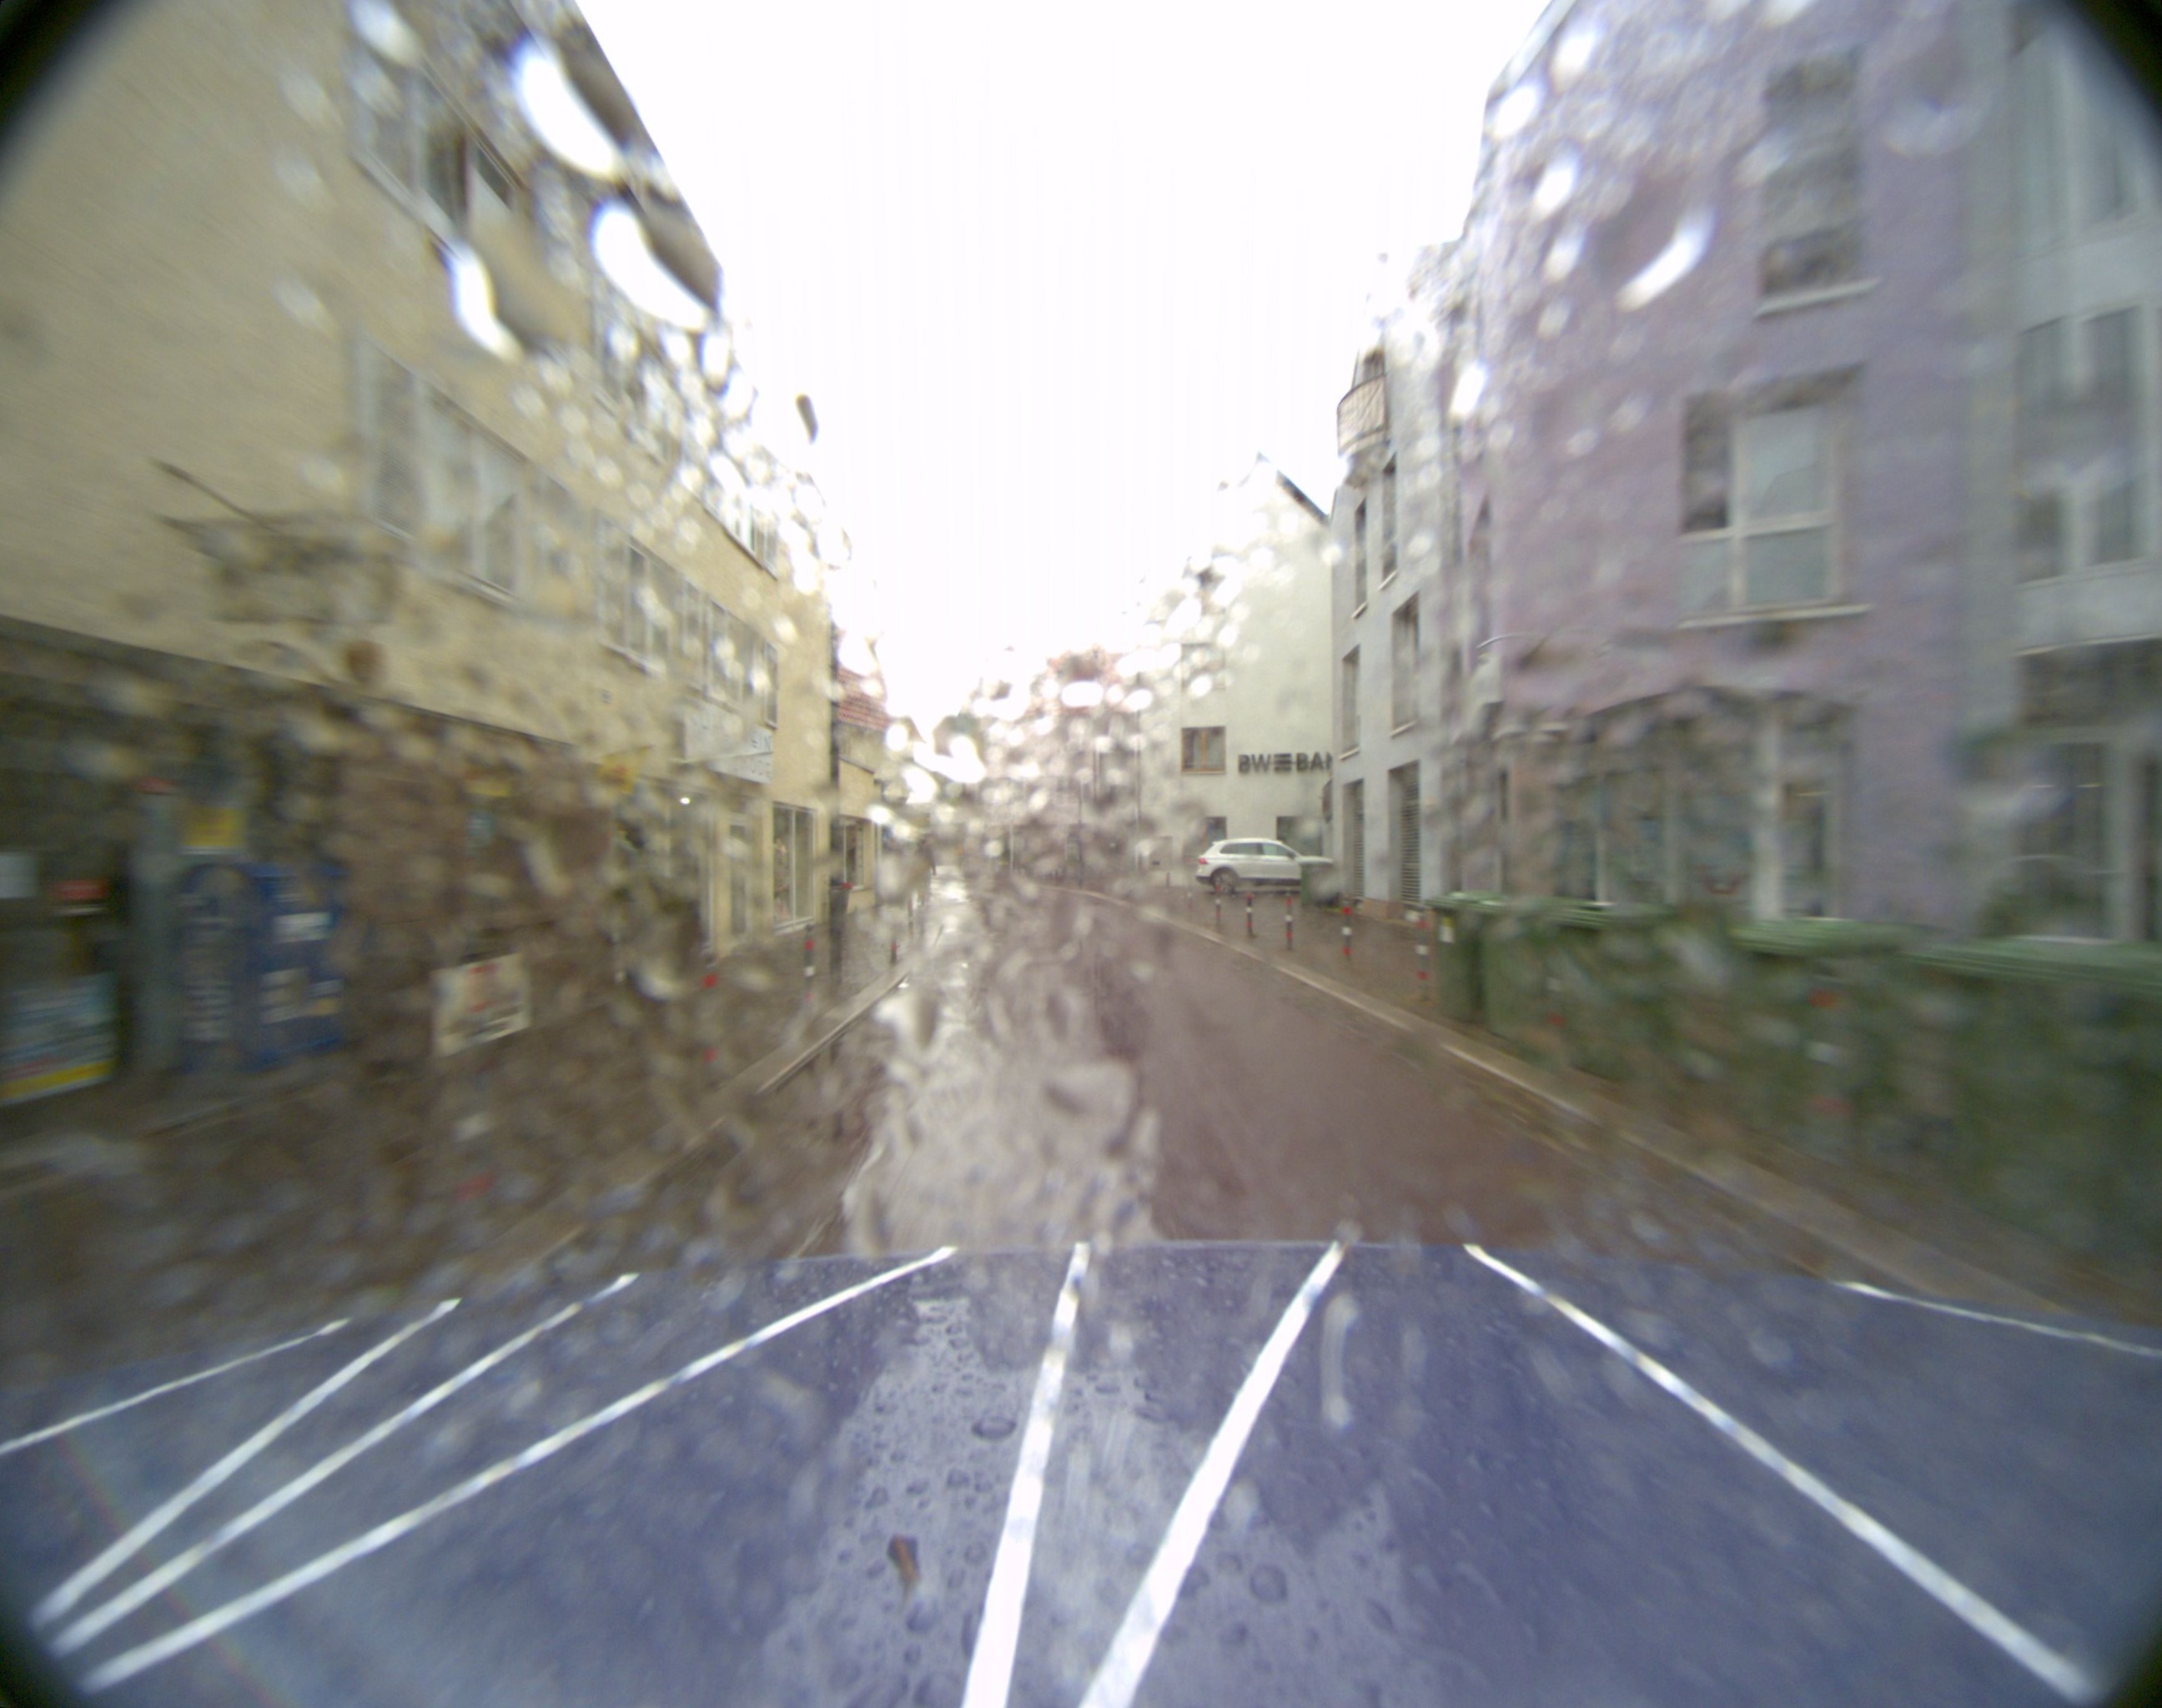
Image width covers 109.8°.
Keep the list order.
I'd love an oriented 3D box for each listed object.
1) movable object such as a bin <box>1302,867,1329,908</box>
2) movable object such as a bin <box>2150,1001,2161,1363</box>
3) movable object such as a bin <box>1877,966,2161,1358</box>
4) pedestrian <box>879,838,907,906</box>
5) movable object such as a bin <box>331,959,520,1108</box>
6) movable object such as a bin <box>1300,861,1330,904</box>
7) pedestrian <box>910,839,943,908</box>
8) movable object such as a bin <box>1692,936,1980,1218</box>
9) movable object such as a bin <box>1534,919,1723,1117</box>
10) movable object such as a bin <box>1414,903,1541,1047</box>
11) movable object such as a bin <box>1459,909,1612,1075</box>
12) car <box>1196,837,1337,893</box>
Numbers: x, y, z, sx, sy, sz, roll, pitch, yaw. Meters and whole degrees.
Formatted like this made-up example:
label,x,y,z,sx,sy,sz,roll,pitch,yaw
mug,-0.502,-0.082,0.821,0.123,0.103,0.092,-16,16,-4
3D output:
label,x,y,z,sx,sy,sz,roll,pitch,yaw
movable object such as a bin,5.360,0.764,17.394,0.461,0.891,0.449,-1,3,-6
movable object such as a bin,3.535,0.963,1.939,0.688,1.067,0.669,-1,1,-3
movable object such as a bin,3.529,1.010,2.709,0.688,1.099,0.669,-1,1,-3
pedestrian,-5.334,0.501,21.502,0.656,1.892,0.657,1,2,-21
movable object such as a bin,-4.603,1.233,5.400,0.547,0.831,0.910,1,0,0
movable object such as a bin,5.606,0.679,18.198,0.487,0.983,0.574,1,3,40
pedestrian,-4.351,0.529,21.409,0.775,1.894,0.803,0,2,-21
movable object such as a bin,3.474,0.981,3.558,0.688,1.099,0.669,-1,1,-3
movable object such as a bin,3.386,0.979,4.750,0.688,1.075,0.669,-1,1,-3
movable object such as a bin,3.291,0.979,6.361,0.688,1.072,0.677,-1,1,-3
movable object such as a bin,3.336,0.984,5.628,0.688,1.081,0.712,-1,1,-3
car,5.568,0.317,23.079,3.992,1.575,1.834,0,2,12
